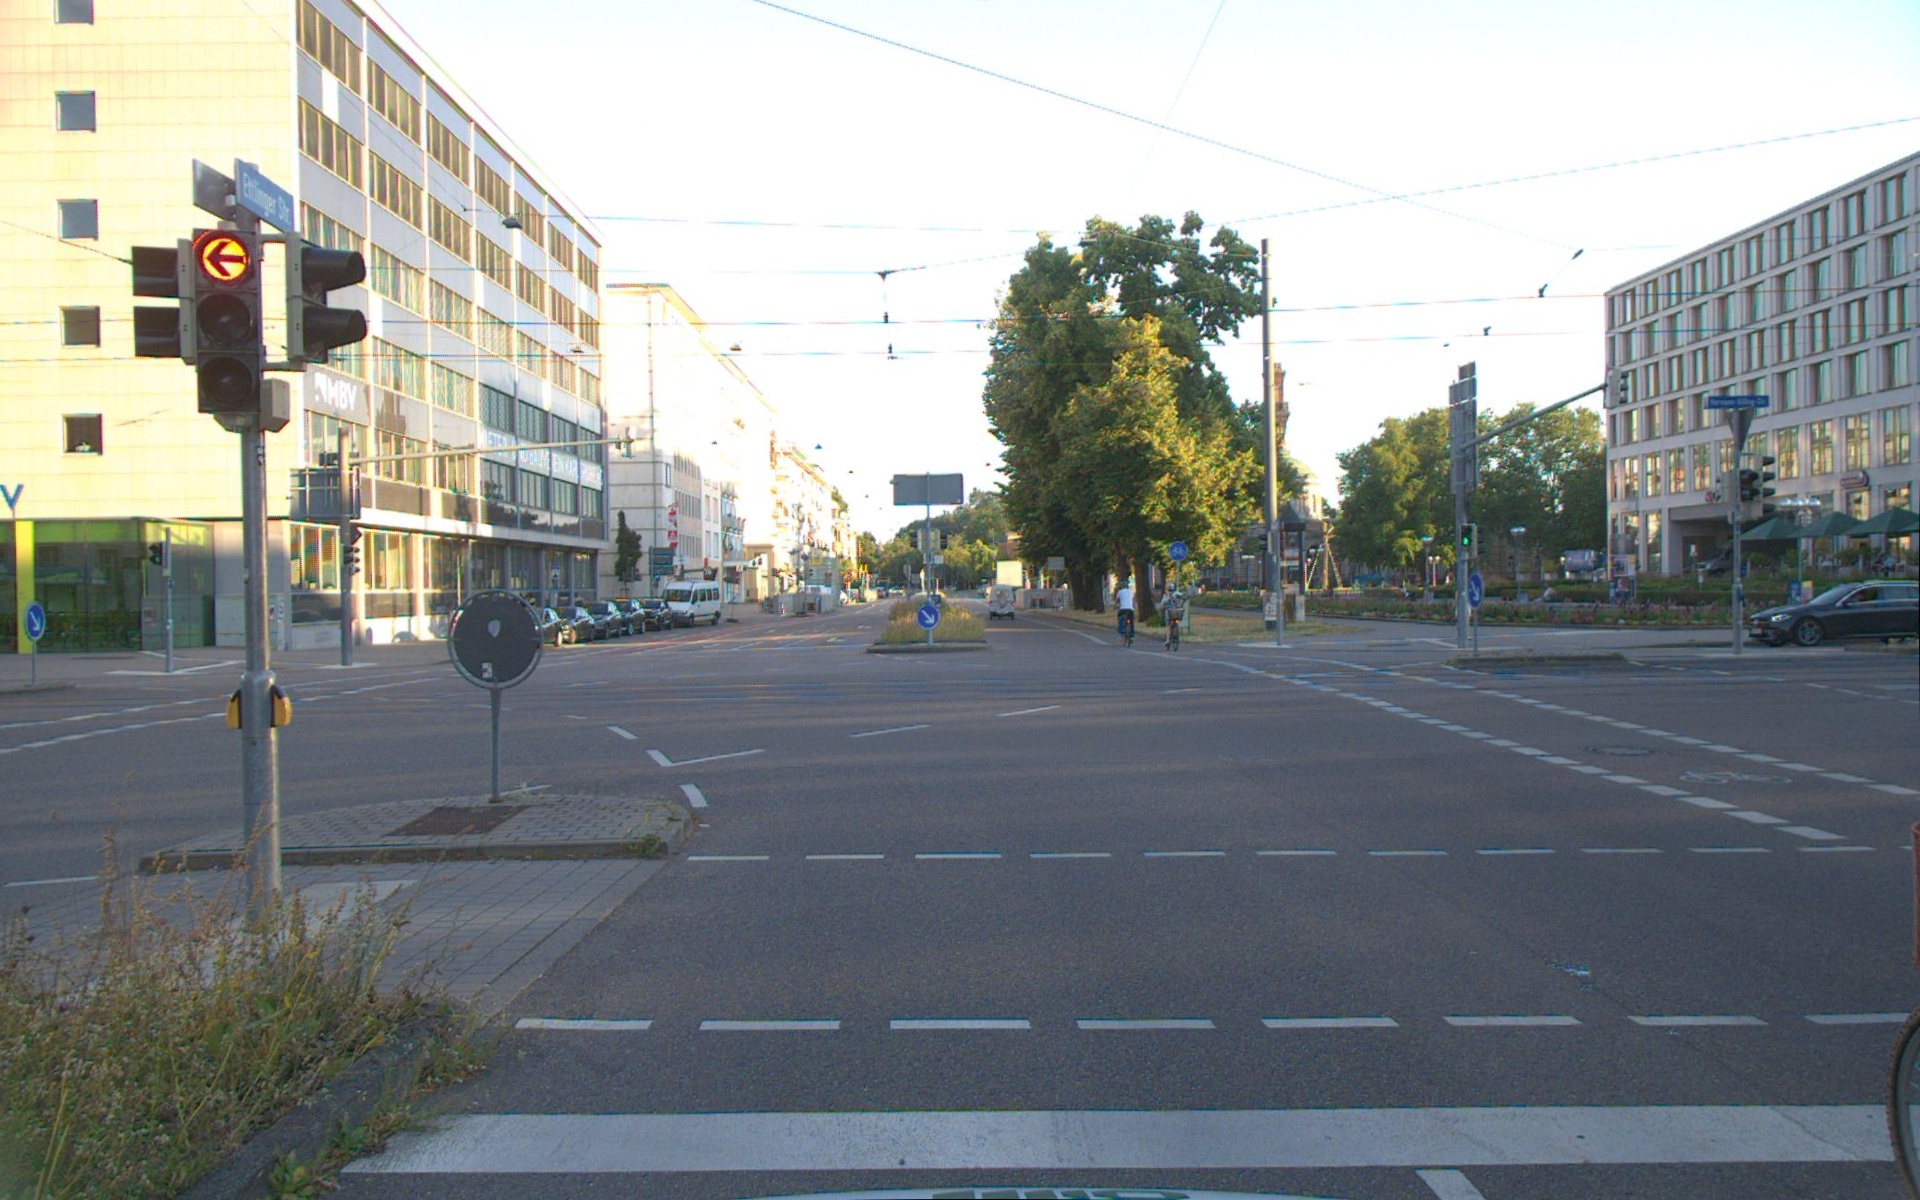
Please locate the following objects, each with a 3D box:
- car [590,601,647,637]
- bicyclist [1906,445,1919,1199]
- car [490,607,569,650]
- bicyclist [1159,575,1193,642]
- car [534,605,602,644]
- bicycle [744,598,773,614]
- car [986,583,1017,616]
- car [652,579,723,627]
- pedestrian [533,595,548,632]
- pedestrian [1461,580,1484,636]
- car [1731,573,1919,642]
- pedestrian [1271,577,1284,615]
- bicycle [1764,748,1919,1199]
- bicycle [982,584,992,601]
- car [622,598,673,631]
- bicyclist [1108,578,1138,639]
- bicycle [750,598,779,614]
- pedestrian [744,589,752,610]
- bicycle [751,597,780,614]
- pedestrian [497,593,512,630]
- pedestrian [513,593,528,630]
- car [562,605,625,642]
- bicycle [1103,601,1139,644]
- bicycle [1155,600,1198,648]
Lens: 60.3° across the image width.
[{"bbox_3d":[-16.129,0.884,78.298,1.882,1.595,3.999,-1,0,-1],"label":"car"},{"bbox_3d":[2.195,0.531,2.811,0.587,1.665,0.998,1,0,-1],"label":"bicyclist"},{"bbox_3d":[-16.005,1.034,61.668,1.882,1.489,4.102,-1,0,-1],"label":"car"},{"bbox_3d":[5.612,0.215,43.028,0.731,1.720,0.799,-1,0,-1],"label":"bicyclist"},{"bbox_3d":[-16.114,0.994,68.180,1.882,1.489,3.999,-1,0,-1],"label":"car"},{"bbox_3d":[-15.267,0.464,125.263,2.161,1.131,0.618,-1,0,-3],"label":"bicycle"},{"bbox_3d":[2.161,-0.031,86.405,1.379,1.670,3.998,-1,0,-2],"label":"car"},{"bbox_3d":[-14.937,0.148,91.004,1.958,2.521,5.873,-1,0,9],"label":"car"},{"bbox_3d":[-19.702,0.614,77.641,0.540,1.708,0.500,-1,0,-1],"label":"pedestrian"},{"bbox_3d":[14.368,0.227,46.411,0.480,1.566,0.408,-1,0,-1],"label":"pedestrian"},{"bbox_3d":[21.457,0.166,39.958,4.724,1.542,2.000,-1,0,1],"label":"car"},{"bbox_3d":[14.520,-0.187,75.640,0.451,1.685,0.566,-1,0,-1],"label":"pedestrian"},{"bbox_3d":[2.188,0.928,2.855,0.599,1.152,2.004,1,0,-1],"label":"bicycle"},{"bbox_3d":[3.428,-0.975,208.085,0.981,2.049,4.002,-1,0,4],"label":"bicycle"},{"bbox_3d":[-15.955,0.736,84.529,1.882,1.595,3.999,-1,0,-1],"label":"car"},{"bbox_3d":[4.631,0.247,46.969,0.731,1.692,0.873,-1,0,-1],"label":"bicyclist"},{"bbox_3d":[-14.960,0.441,126.454,2.161,1.131,0.689,-1,0,-2],"label":"bicycle"},{"bbox_3d":[-21.108,-0.082,164.654,0.666,2.049,0.545,-2,0,-1],"label":"pedestrian"},{"bbox_3d":[-15.149,0.415,128.666,2.161,1.258,0.839,-1,0,-2],"label":"bicycle"},{"bbox_3d":[-21.363,0.541,77.618,0.540,1.708,0.500,-1,0,-1],"label":"pedestrian"},{"bbox_3d":[-20.724,0.542,77.938,0.540,1.708,0.500,-1,0,-1],"label":"pedestrian"},{"bbox_3d":[-16.133,1.015,72.994,1.882,1.489,3.999,-1,0,-1],"label":"car"},{"bbox_3d":[4.592,0.635,47.395,0.731,1.164,2.505,-1,0,-1],"label":"bicycle"},{"bbox_3d":[5.624,0.608,43.023,0.731,1.164,2.505,-1,0,-1],"label":"bicycle"}]
